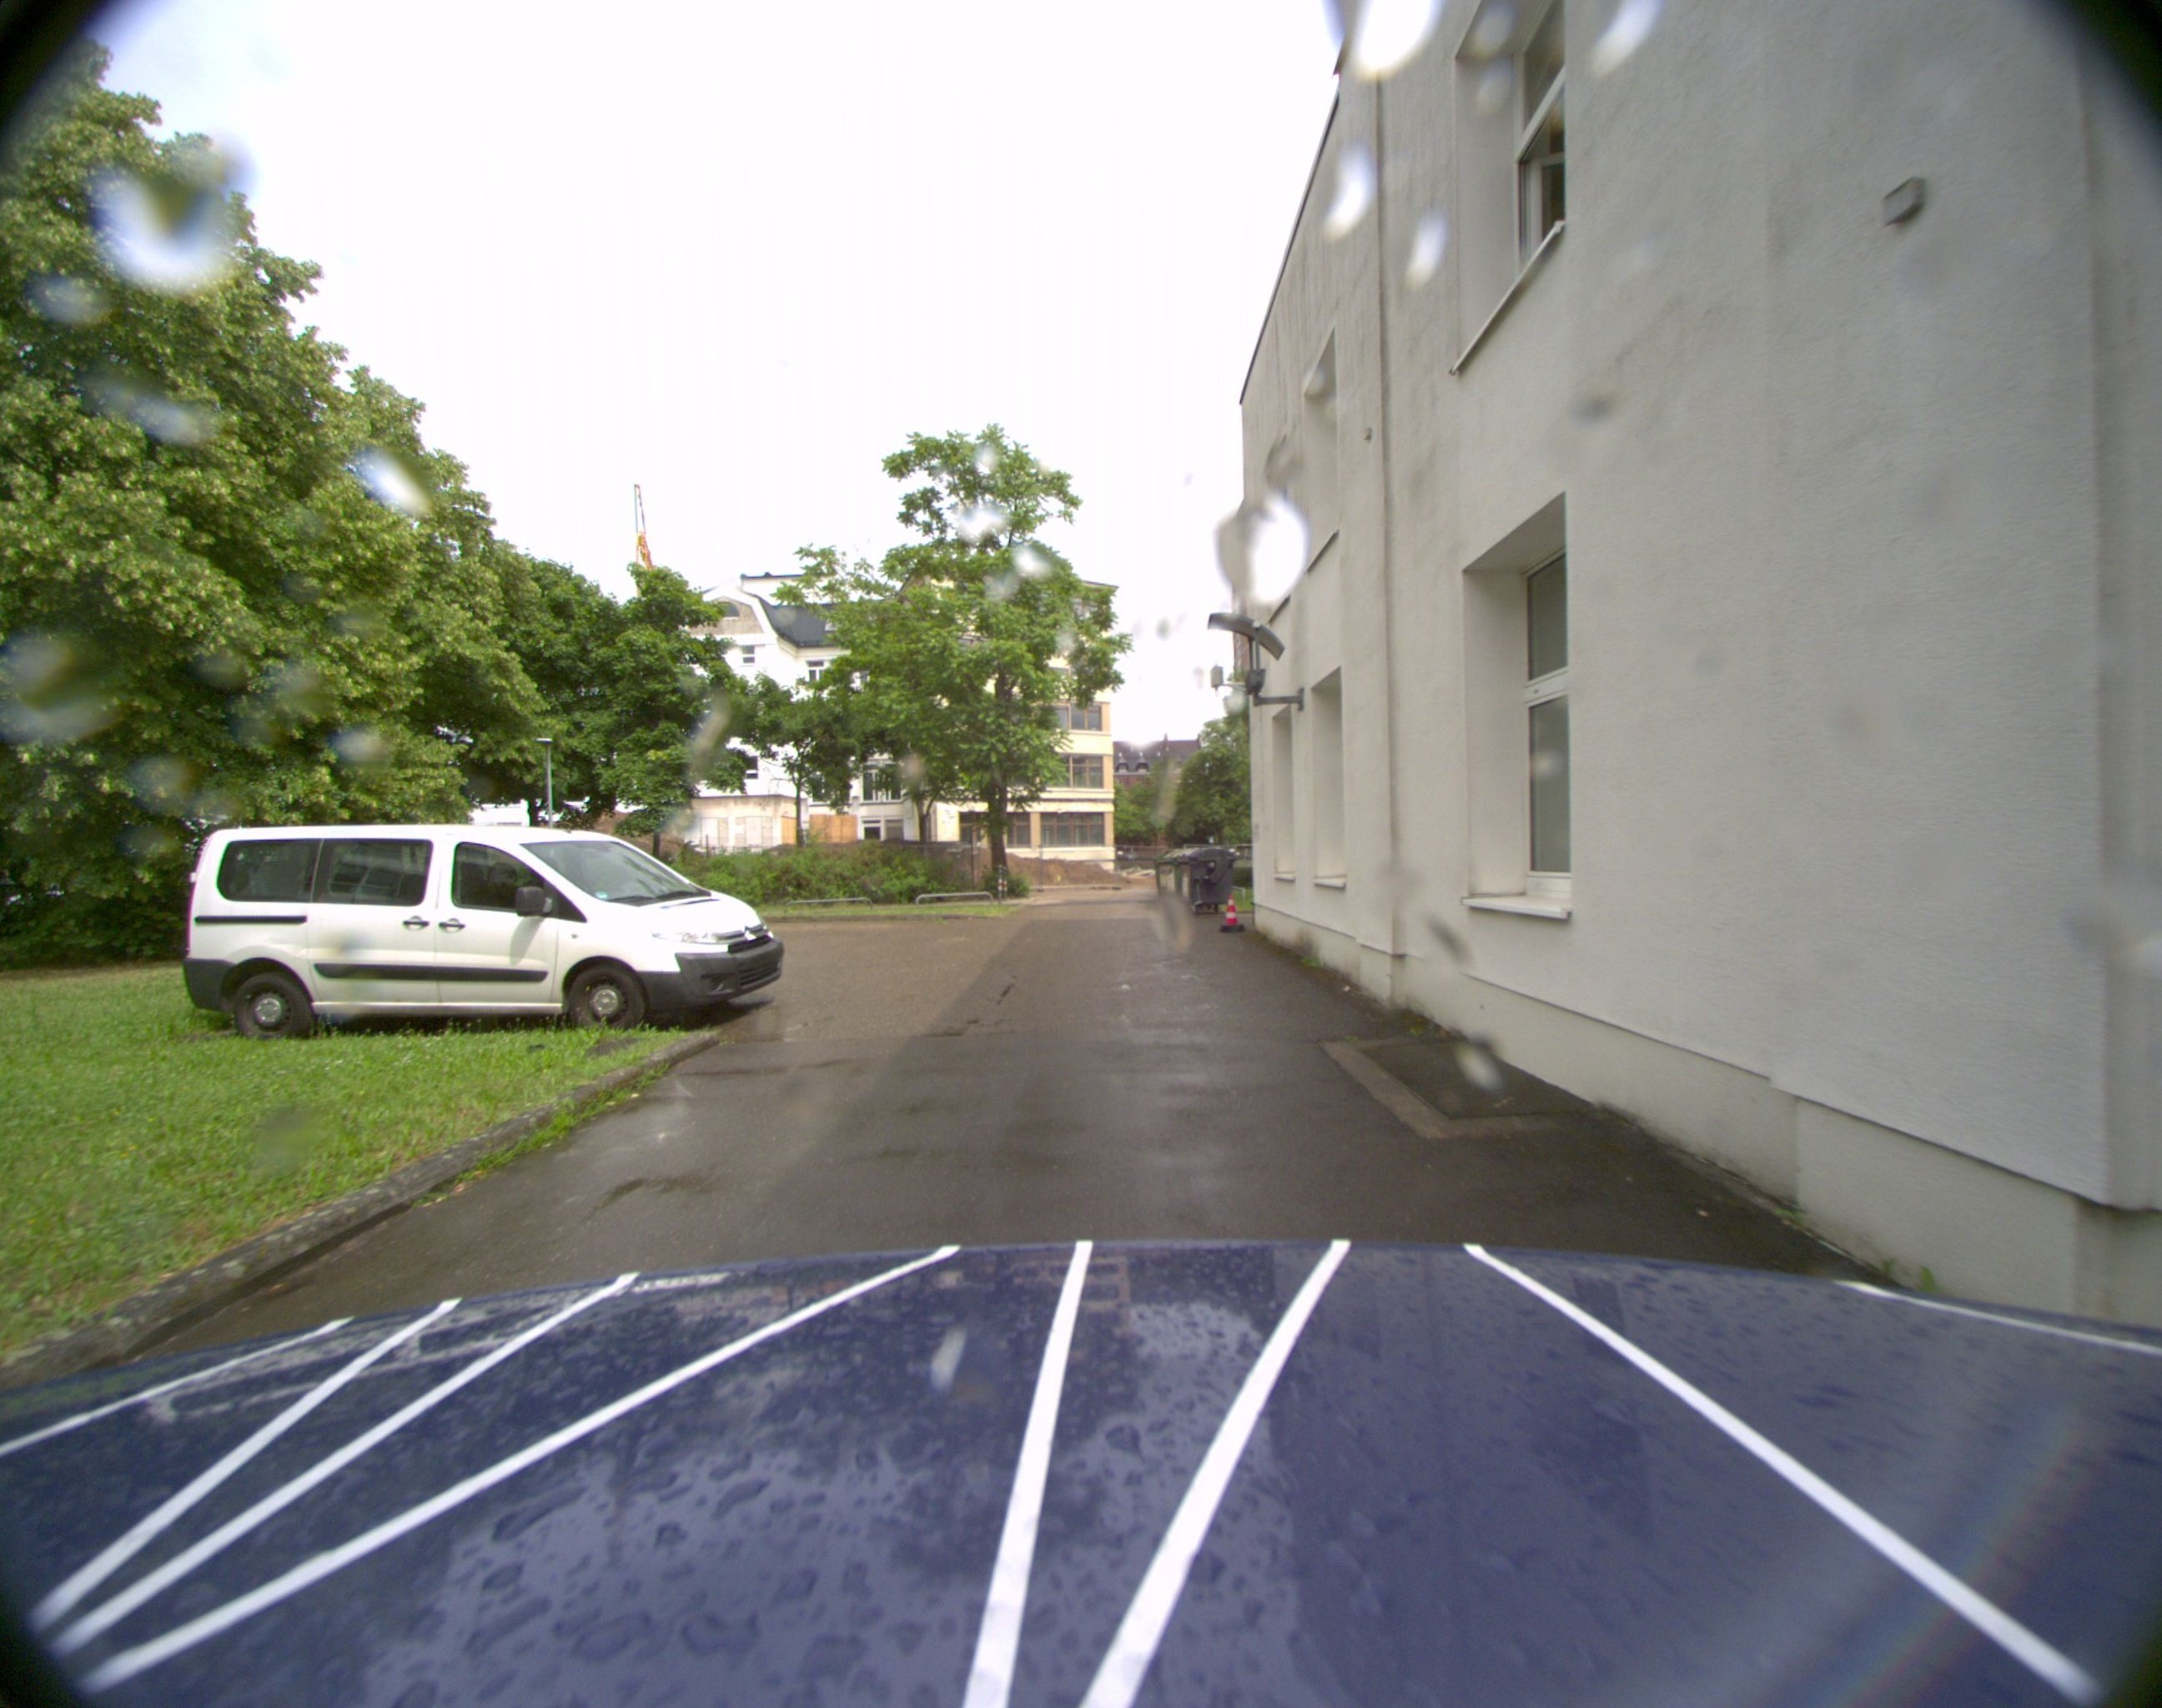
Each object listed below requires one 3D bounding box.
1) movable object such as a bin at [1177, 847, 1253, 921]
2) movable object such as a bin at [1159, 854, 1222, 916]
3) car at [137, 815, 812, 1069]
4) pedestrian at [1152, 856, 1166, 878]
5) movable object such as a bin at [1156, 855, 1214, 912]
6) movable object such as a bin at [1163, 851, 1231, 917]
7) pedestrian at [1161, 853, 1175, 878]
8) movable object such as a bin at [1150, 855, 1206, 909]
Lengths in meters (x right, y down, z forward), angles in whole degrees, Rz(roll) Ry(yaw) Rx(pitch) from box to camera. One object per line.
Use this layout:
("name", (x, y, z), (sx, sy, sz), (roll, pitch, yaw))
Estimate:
("movable object such as a bin", (2.847, 0.627, 16.347), (1.363, 1.462, 1.366), (-3, 0, 1))
("movable object such as a bin", (2.778, 0.774, 19.478), (1.363, 1.462, 1.352), (-3, 0, 1))
("car", (-5.442, 0.751, 7.280), (4.947, 2.002, 2.000), (-2, 1, 4))
("pedestrian", (5.318, 0.861, 51.819), (0.650, 1.500, 0.623), (-1, 0, -39))
("movable object such as a bin", (2.830, 0.791, 20.934), (1.363, 1.462, 1.465), (-3, 0, 1))
("movable object such as a bin", (2.742, 0.694, 18.084), (1.363, 1.462, 1.366), (-3, 0, 1))
("pedestrian", (6.050, 0.795, 52.731), (0.775, 1.663, 0.714), (-1, 0, 28))
("movable object such as a bin", (2.839, 0.808, 22.489), (1.412, 1.462, 1.561), (-3, 0, 1))
